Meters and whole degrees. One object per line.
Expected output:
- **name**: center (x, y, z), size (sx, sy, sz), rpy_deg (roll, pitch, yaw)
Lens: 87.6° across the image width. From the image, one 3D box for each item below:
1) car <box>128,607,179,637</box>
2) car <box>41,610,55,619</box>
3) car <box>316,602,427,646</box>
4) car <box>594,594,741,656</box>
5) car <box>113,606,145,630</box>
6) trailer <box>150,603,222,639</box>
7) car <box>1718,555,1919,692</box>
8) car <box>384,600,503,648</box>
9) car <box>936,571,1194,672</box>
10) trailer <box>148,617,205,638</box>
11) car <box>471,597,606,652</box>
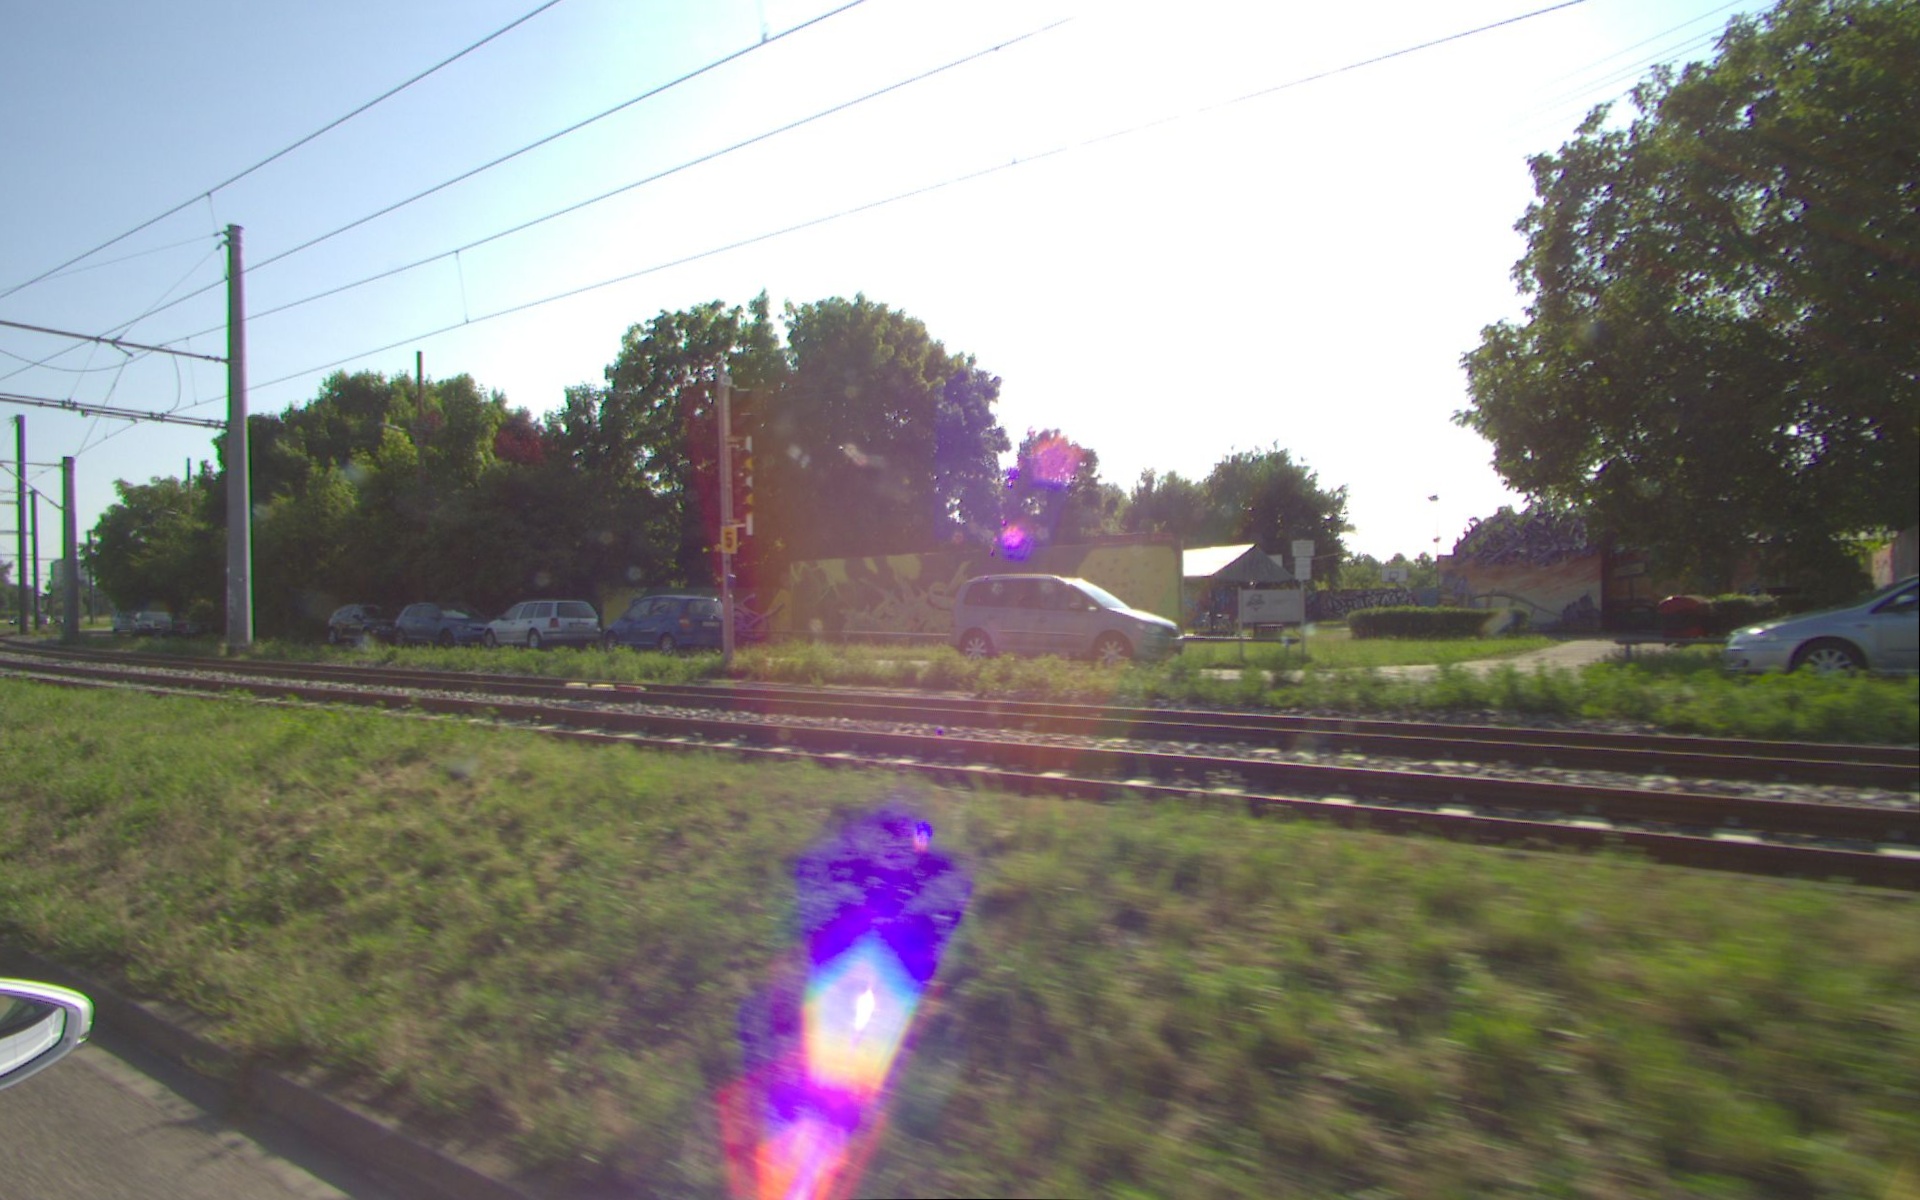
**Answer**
- **car**: center (-43.206, 1.146, 53.592), size (1.688, 1.475, 4.833), rpy_deg (4, -3, -43)
- **car**: center (-175.668, 2.736, 192.899), size (1.692, 1.687, 4.555), rpy_deg (1, -1, -37)
- **car**: center (-20.243, 0.812, 34.393), size (4.461, 1.428, 1.618), rpy_deg (0, -2, 35)
- **car**: center (-7.462, 0.617, 25.383), size (3.863, 1.448, 1.672), rpy_deg (0, -2, 39)
- **car**: center (-74.634, 1.628, 89.981), size (1.977, 2.029, 5.028), rpy_deg (3, -3, -37)
- **trailer**: center (-36.610, 1.003, 47.323), size (4.214, 1.616, 2.016), rpy_deg (-1, -3, 43)
- **car**: center (12.204, 0.271, 12.183), size (4.663, 1.611, 1.901), rpy_deg (0, 1, 35)
- **car**: center (-16.312, 0.726, 31.557), size (4.091, 1.419, 1.481), rpy_deg (0, 0, 33)
- **car**: center (1.836, 0.352, 18.054), size (4.417, 1.632, 1.519), rpy_deg (0, 1, 31)
- **trailer**: center (-39.348, 1.361, 50.255), size (3.689, 0.951, 1.723), rpy_deg (-1, -4, 44)
- **car**: center (-12.208, 0.671, 28.908), size (4.334, 1.485, 1.703), rpy_deg (0, 0, 38)
